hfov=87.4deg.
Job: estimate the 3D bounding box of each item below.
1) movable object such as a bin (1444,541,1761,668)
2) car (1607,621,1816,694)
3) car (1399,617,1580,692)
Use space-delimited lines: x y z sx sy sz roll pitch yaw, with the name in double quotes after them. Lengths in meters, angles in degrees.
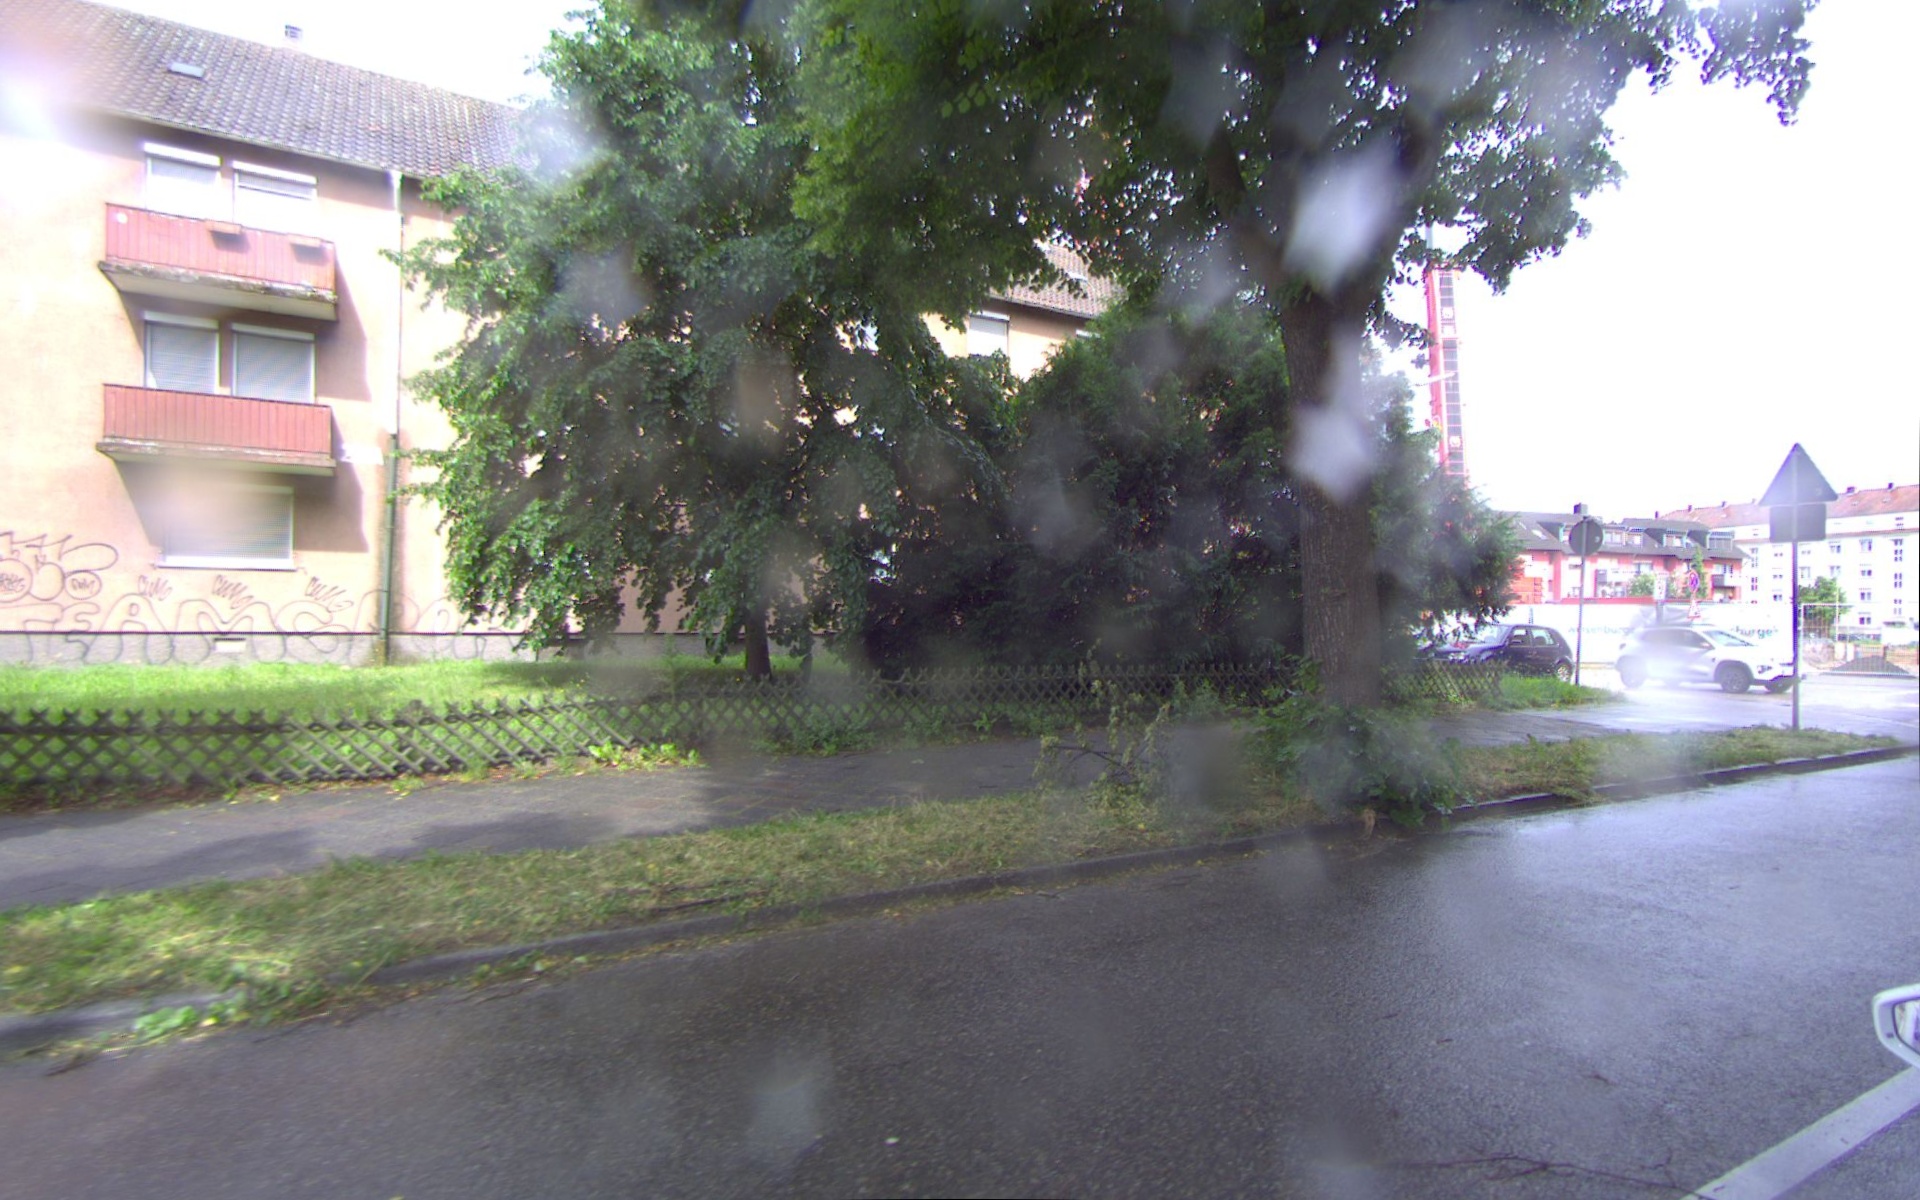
23.799 0.137 38.077 3.323 4.170 9.774 0 0 -27 "movable object such as a bin"
17.545 1.286 23.635 1.712 1.554 3.599 0 -1 -21 "car"
11.434 1.182 21.655 3.824 1.439 1.616 3 0 -29 "car"
